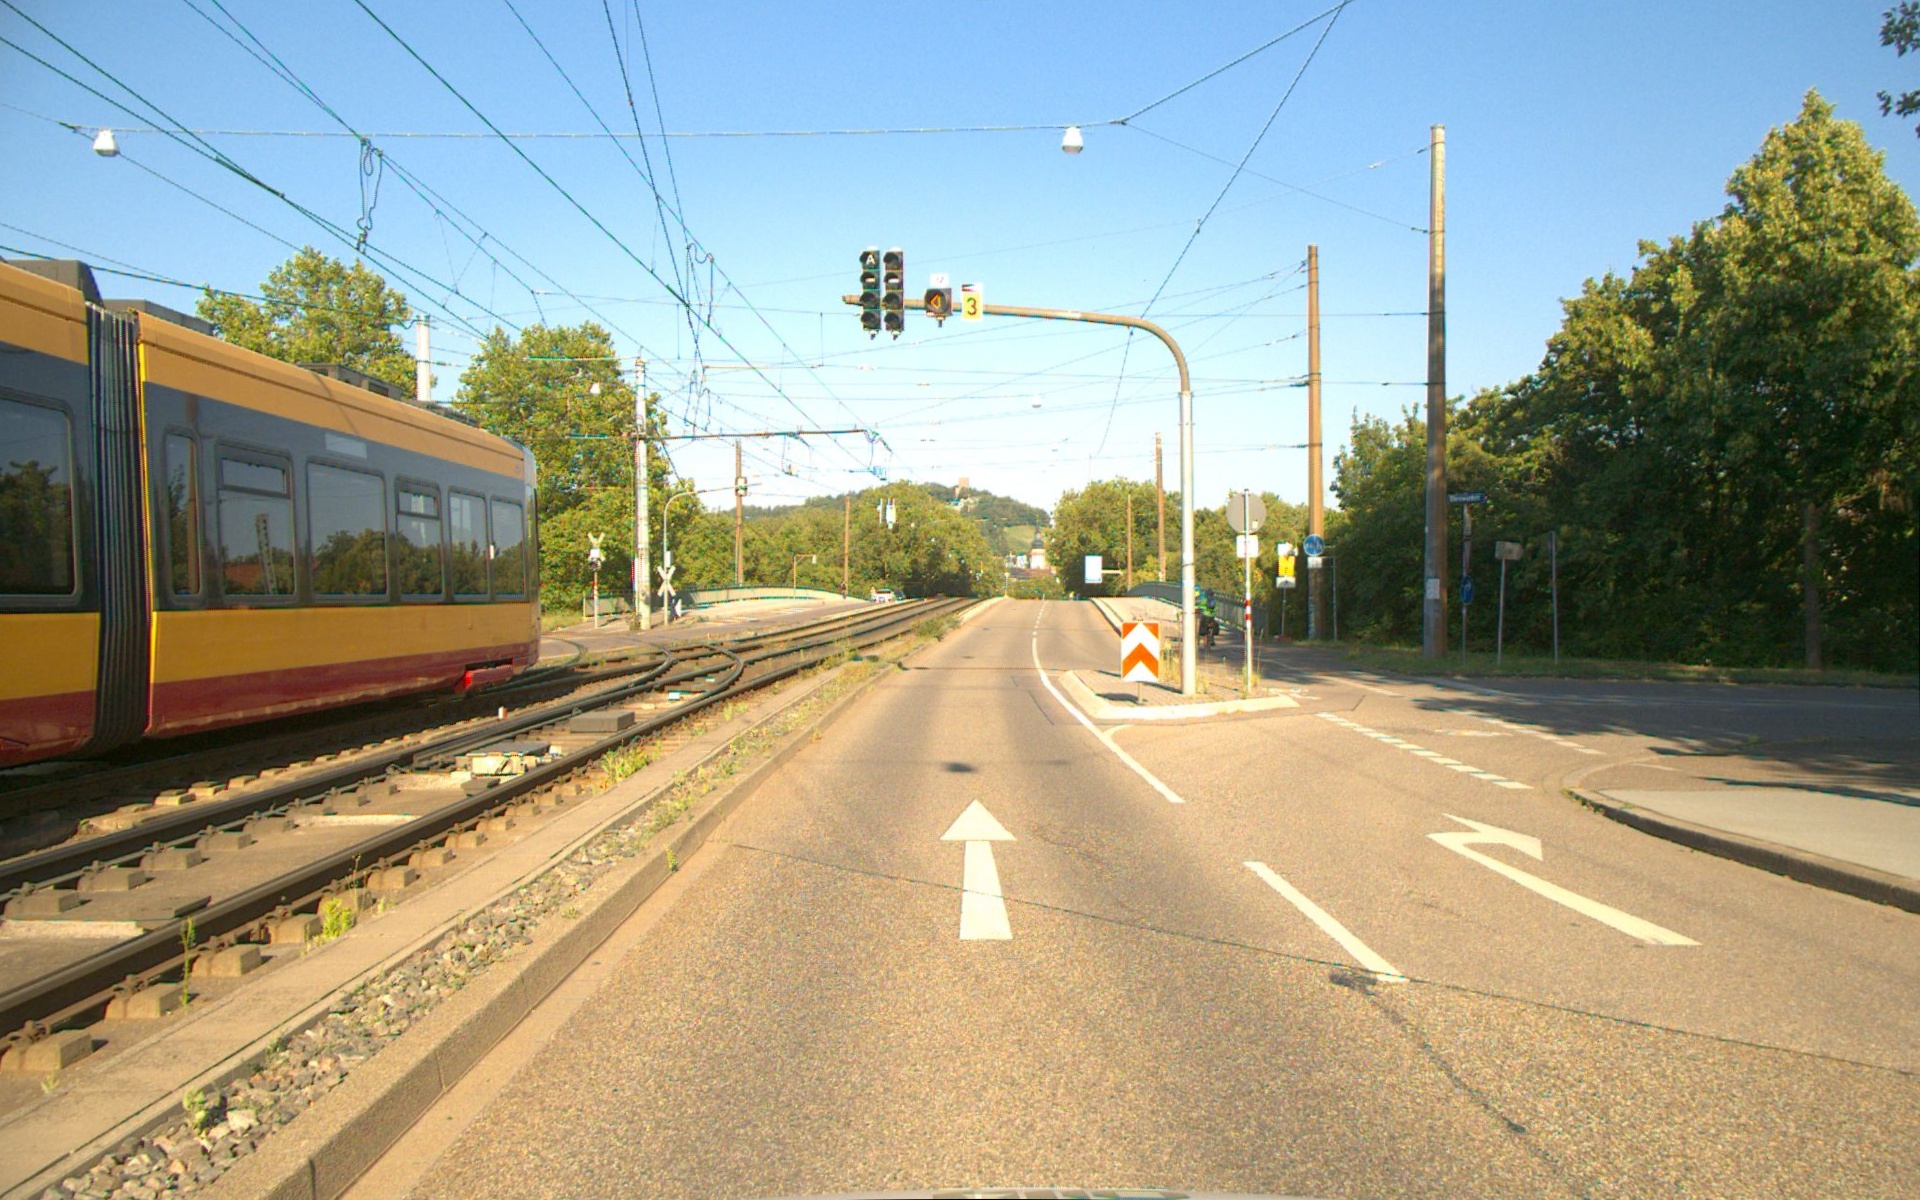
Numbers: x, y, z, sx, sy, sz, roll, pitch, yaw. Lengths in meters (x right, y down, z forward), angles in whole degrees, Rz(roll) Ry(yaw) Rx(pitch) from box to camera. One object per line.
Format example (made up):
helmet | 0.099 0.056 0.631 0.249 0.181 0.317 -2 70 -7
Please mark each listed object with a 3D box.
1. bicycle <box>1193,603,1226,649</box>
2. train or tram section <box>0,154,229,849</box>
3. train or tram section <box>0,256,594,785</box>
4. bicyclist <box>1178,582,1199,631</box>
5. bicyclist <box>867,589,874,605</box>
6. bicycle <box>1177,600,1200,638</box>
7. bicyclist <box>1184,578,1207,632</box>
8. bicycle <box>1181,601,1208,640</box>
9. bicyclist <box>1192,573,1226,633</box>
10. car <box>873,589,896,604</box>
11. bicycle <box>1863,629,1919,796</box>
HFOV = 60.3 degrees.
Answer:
bicycle | 6.668 0.684 44.323 0.669 1.142 2.217 0 1 3
train or tram section | -6.919 -0.548 6.567 2.915 3.969 11.663 0 0 0
train or tram section | -7.001 -0.624 18.782 2.917 3.969 12.700 0 0 0
bicyclist | 7.278 0.202 52.783 0.612 1.534 1.006 0 0 5
bicyclist | -9.435 -0.294 173.846 0.612 1.662 0.936 0 0 6
bicycle | 7.274 0.591 52.746 0.612 1.142 2.261 0 1 5
bicyclist | 7.068 0.143 49.679 0.612 1.620 0.931 0 0 3
bicycle | 7.030 0.601 49.663 0.612 1.142 2.043 0 0 3
bicyclist | 6.659 0.078 44.294 0.795 1.589 0.897 0 1 3
car | -7.180 -0.375 157.048 1.648 1.380 4.922 0 0 3
bicycle | 7.020 0.792 10.828 0.716 1.142 2.742 0 0 0
